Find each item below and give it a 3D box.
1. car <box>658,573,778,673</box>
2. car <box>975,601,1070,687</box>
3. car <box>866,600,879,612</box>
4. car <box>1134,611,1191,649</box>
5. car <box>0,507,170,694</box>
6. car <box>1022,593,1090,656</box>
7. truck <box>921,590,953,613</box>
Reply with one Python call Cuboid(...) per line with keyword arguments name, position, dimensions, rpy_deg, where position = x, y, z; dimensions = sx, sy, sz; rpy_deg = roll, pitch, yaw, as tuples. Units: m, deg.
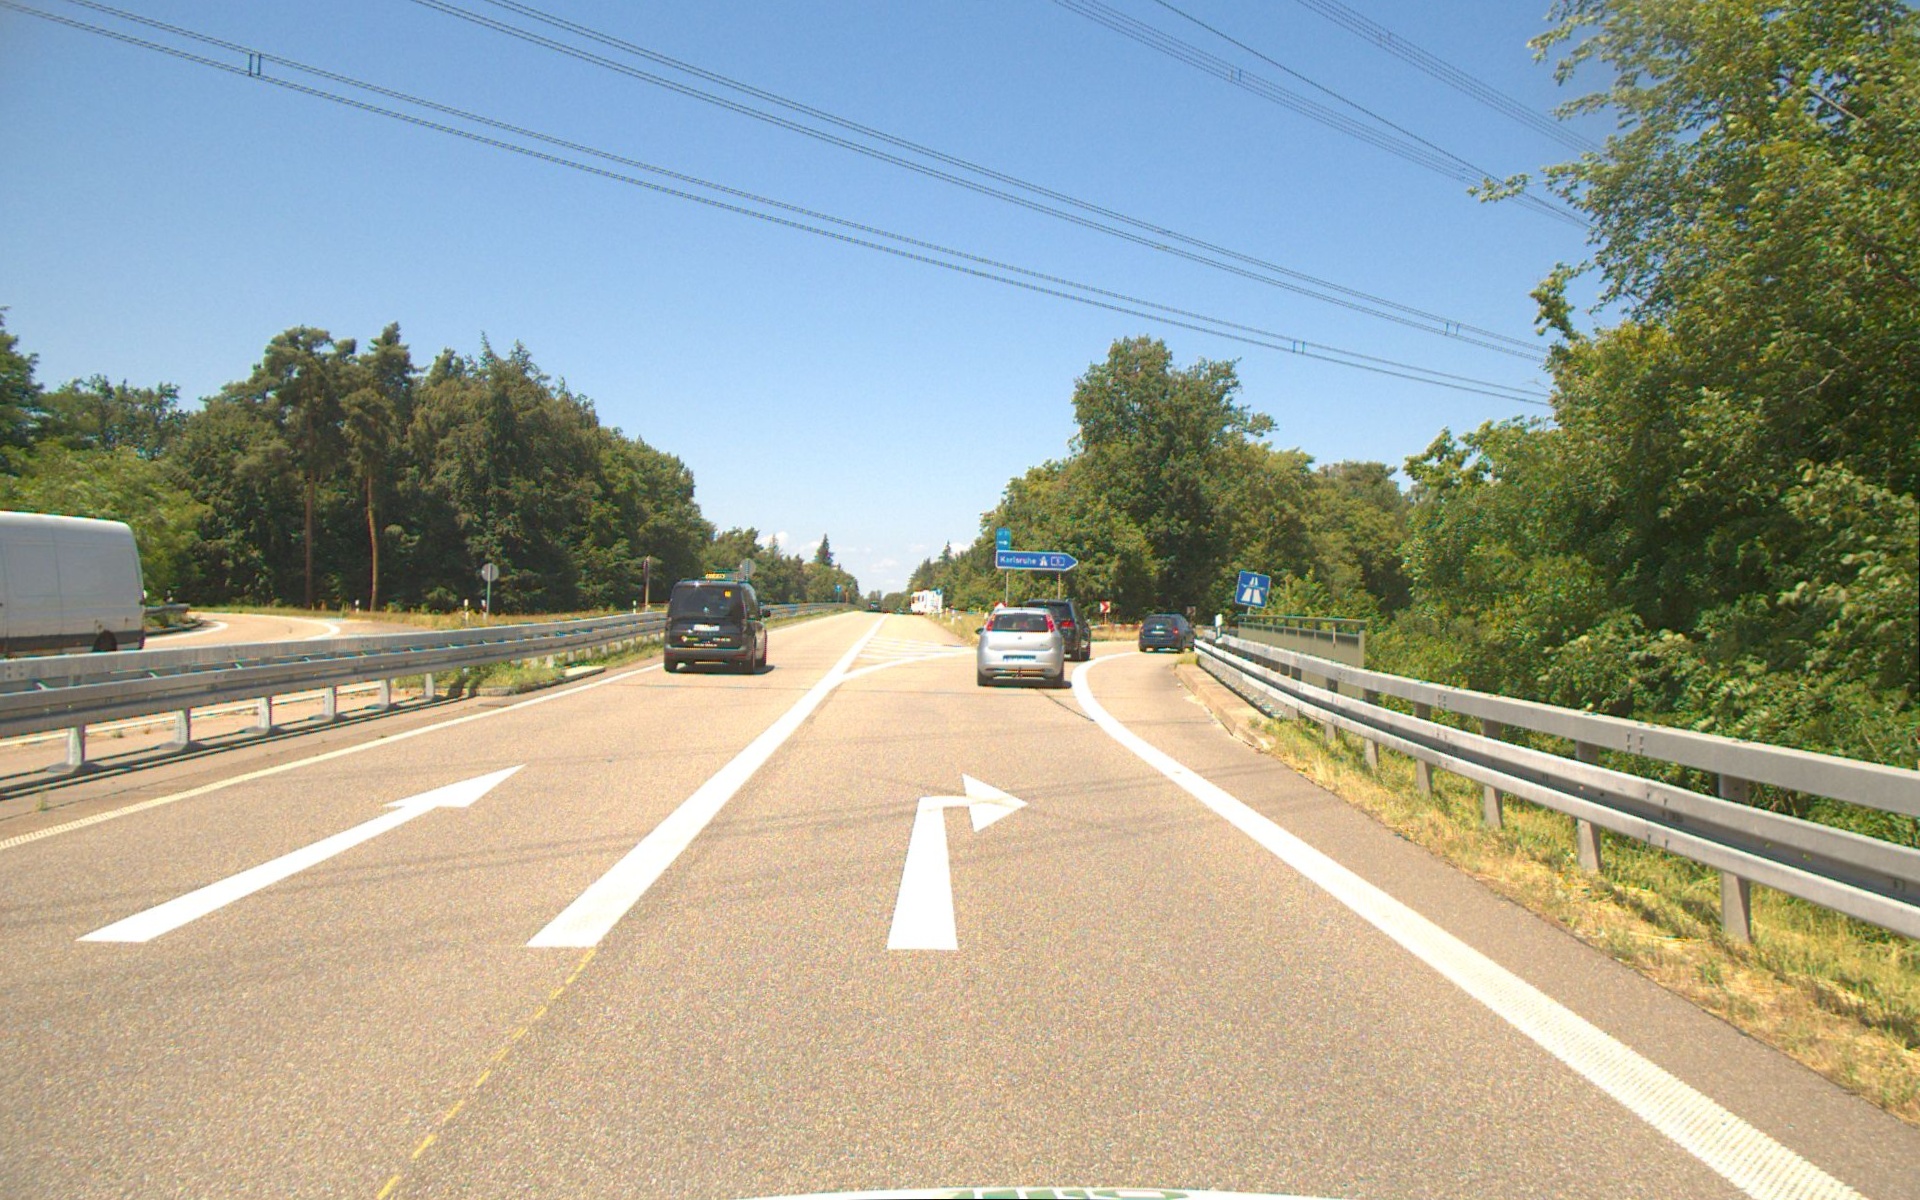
Cuboid(name="car", position=(-4.979, 0.437, 34.754), dimensions=(1.817, 1.920, 5.571), rpy_deg=(0, 0, -1))
Cuboid(name="car", position=(1.264, 0.812, 32.120), dimensions=(1.606, 1.493, 3.421), rpy_deg=(3, 0, 5))
Cuboid(name="car", position=(-12.120, 0.800, 229.490), dimensions=(1.678, 1.497, 3.573), rpy_deg=(3, 0, -2))
Cuboid(name="car", position=(7.878, 1.156, 64.174), dimensions=(1.606, 1.366, 3.576), rpy_deg=(3, 0, 15))
Cuboid(name="car", position=(-14.967, 0.023, 25.249), dimensions=(2.473, 2.664, 7.184), rpy_deg=(-1, 0, -1))
Cuboid(name="car", position=(2.863, 0.711, 48.620), dimensions=(1.605, 1.682, 3.577), rpy_deg=(3, 0, 9))
Cuboid(name="truck", position=(-2.799, 0.171, 203.547), dimensions=(2.562, 2.688, 7.673), rpy_deg=(1, 0, 9))
